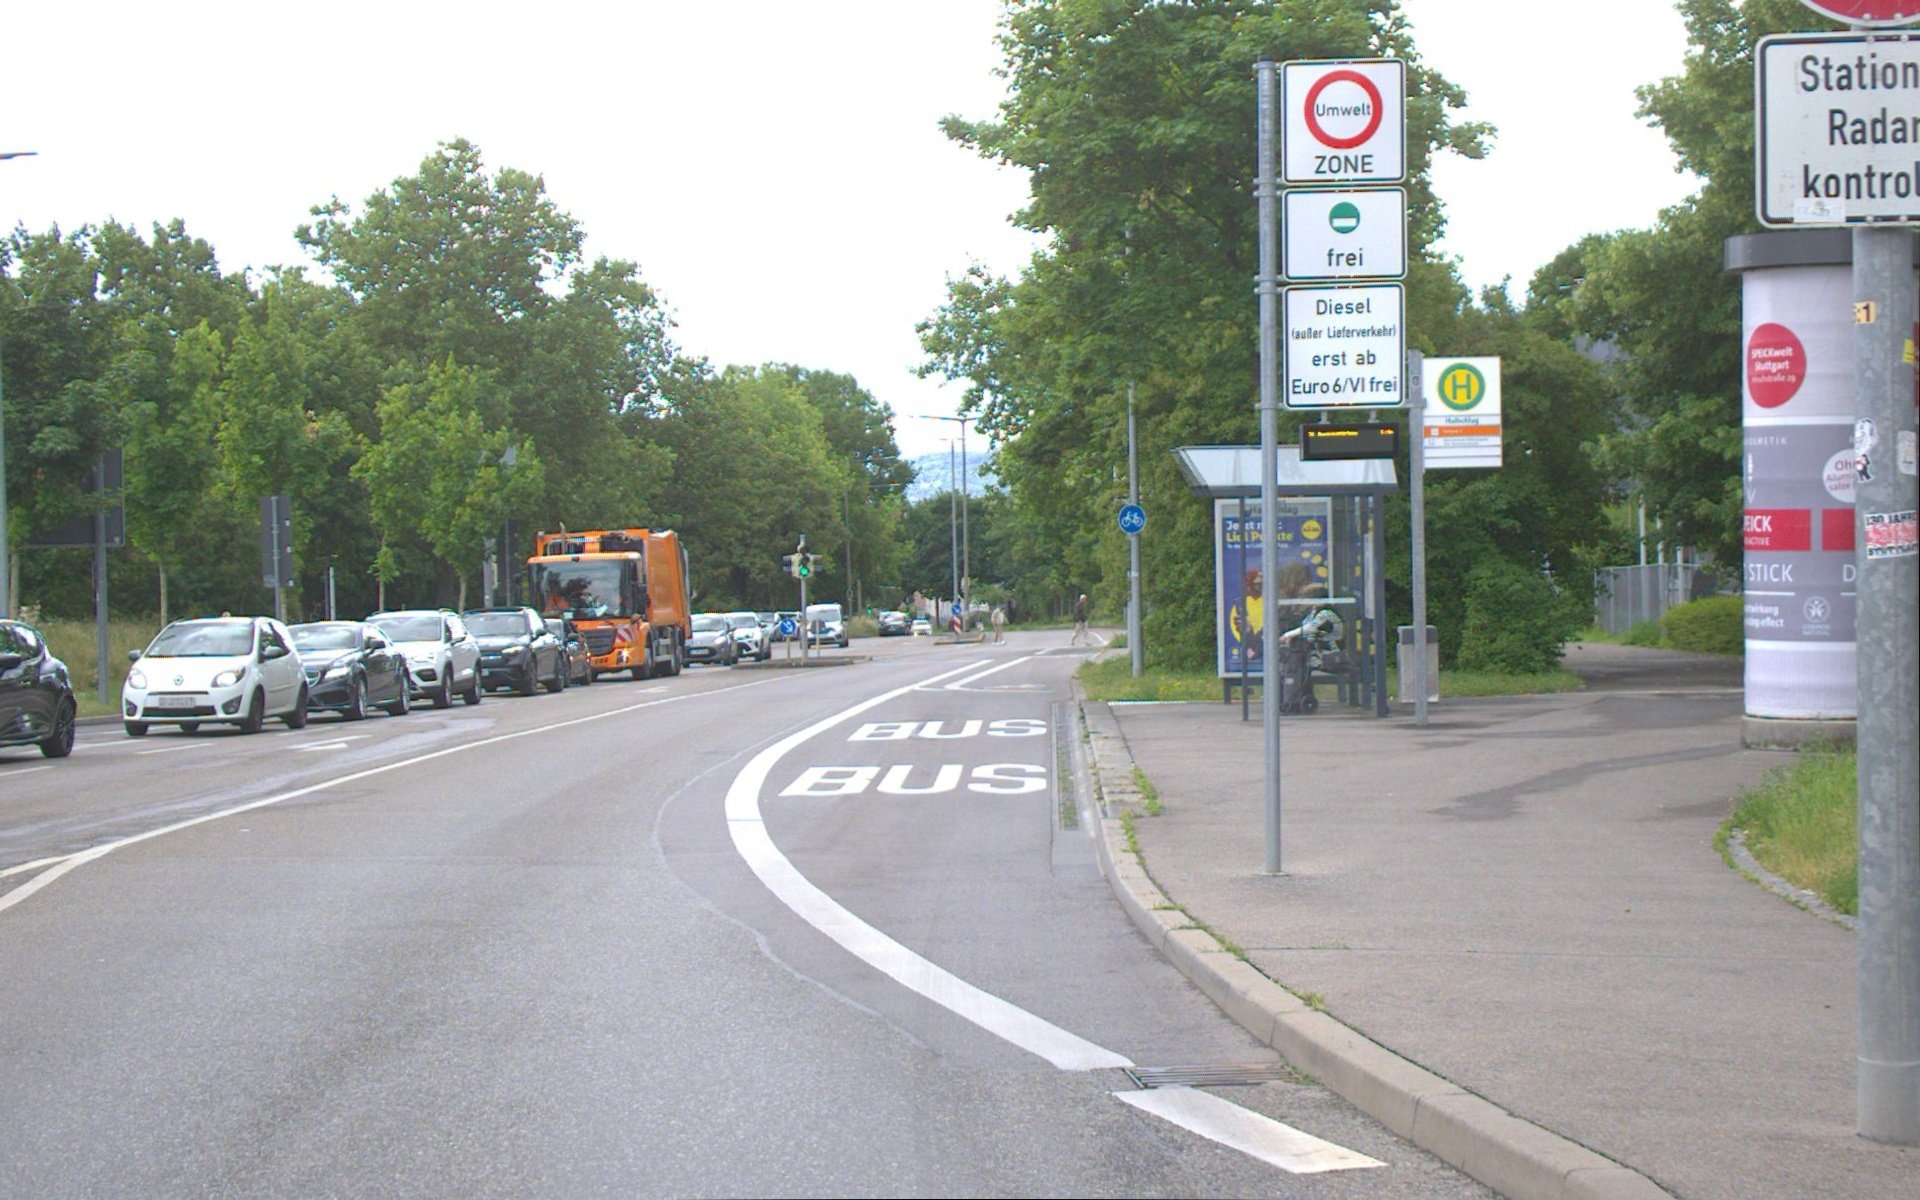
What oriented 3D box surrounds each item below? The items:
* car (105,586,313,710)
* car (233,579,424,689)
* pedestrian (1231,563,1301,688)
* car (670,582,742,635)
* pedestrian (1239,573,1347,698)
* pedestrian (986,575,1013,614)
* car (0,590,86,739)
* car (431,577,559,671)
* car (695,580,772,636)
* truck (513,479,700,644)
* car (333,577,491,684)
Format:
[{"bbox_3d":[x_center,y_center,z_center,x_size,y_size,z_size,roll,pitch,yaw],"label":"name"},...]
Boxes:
[{"bbox_3d":[-9.409,0.577,43.316,1.639,1.386,3.762,-1,1,2],"label":"car"},{"bbox_3d":[-8.978,0.451,49.255,1.639,1.386,4.885,-1,1,2],"label":"car"},{"bbox_3d":[3.289,0.269,36.962,0.728,1.311,0.589,-1,1,5],"label":"pedestrian"},{"bbox_3d":[-7.122,0.219,96.696,1.547,1.326,3.654,-3,1,2],"label":"car"},{"bbox_3d":[3.424,0.352,35.335,0.774,1.248,0.772,-2,2,-39],"label":"pedestrian"},{"bbox_3d":[1.478,-0.202,129.765,0.788,1.458,0.749,-2,1,-16],"label":"pedestrian"},{"bbox_3d":[-9.769,0.633,32.868,1.639,1.327,4.061,-1,1,2],"label":"car"},{"bbox_3d":[-8.597,0.423,63.823,1.639,1.580,4.060,-1,1,2],"label":"car"},{"bbox_3d":[-6.880,0.217,104.693,1.846,1.515,4.815,-3,1,1],"label":"car"},{"bbox_3d":[-7.956,-0.950,78.670,2.706,3.475,9.994,-1,1,3],"label":"truck"},{"bbox_3d":[-8.907,0.471,56.174,1.730,1.580,4.223,-1,1,2],"label":"car"}]
